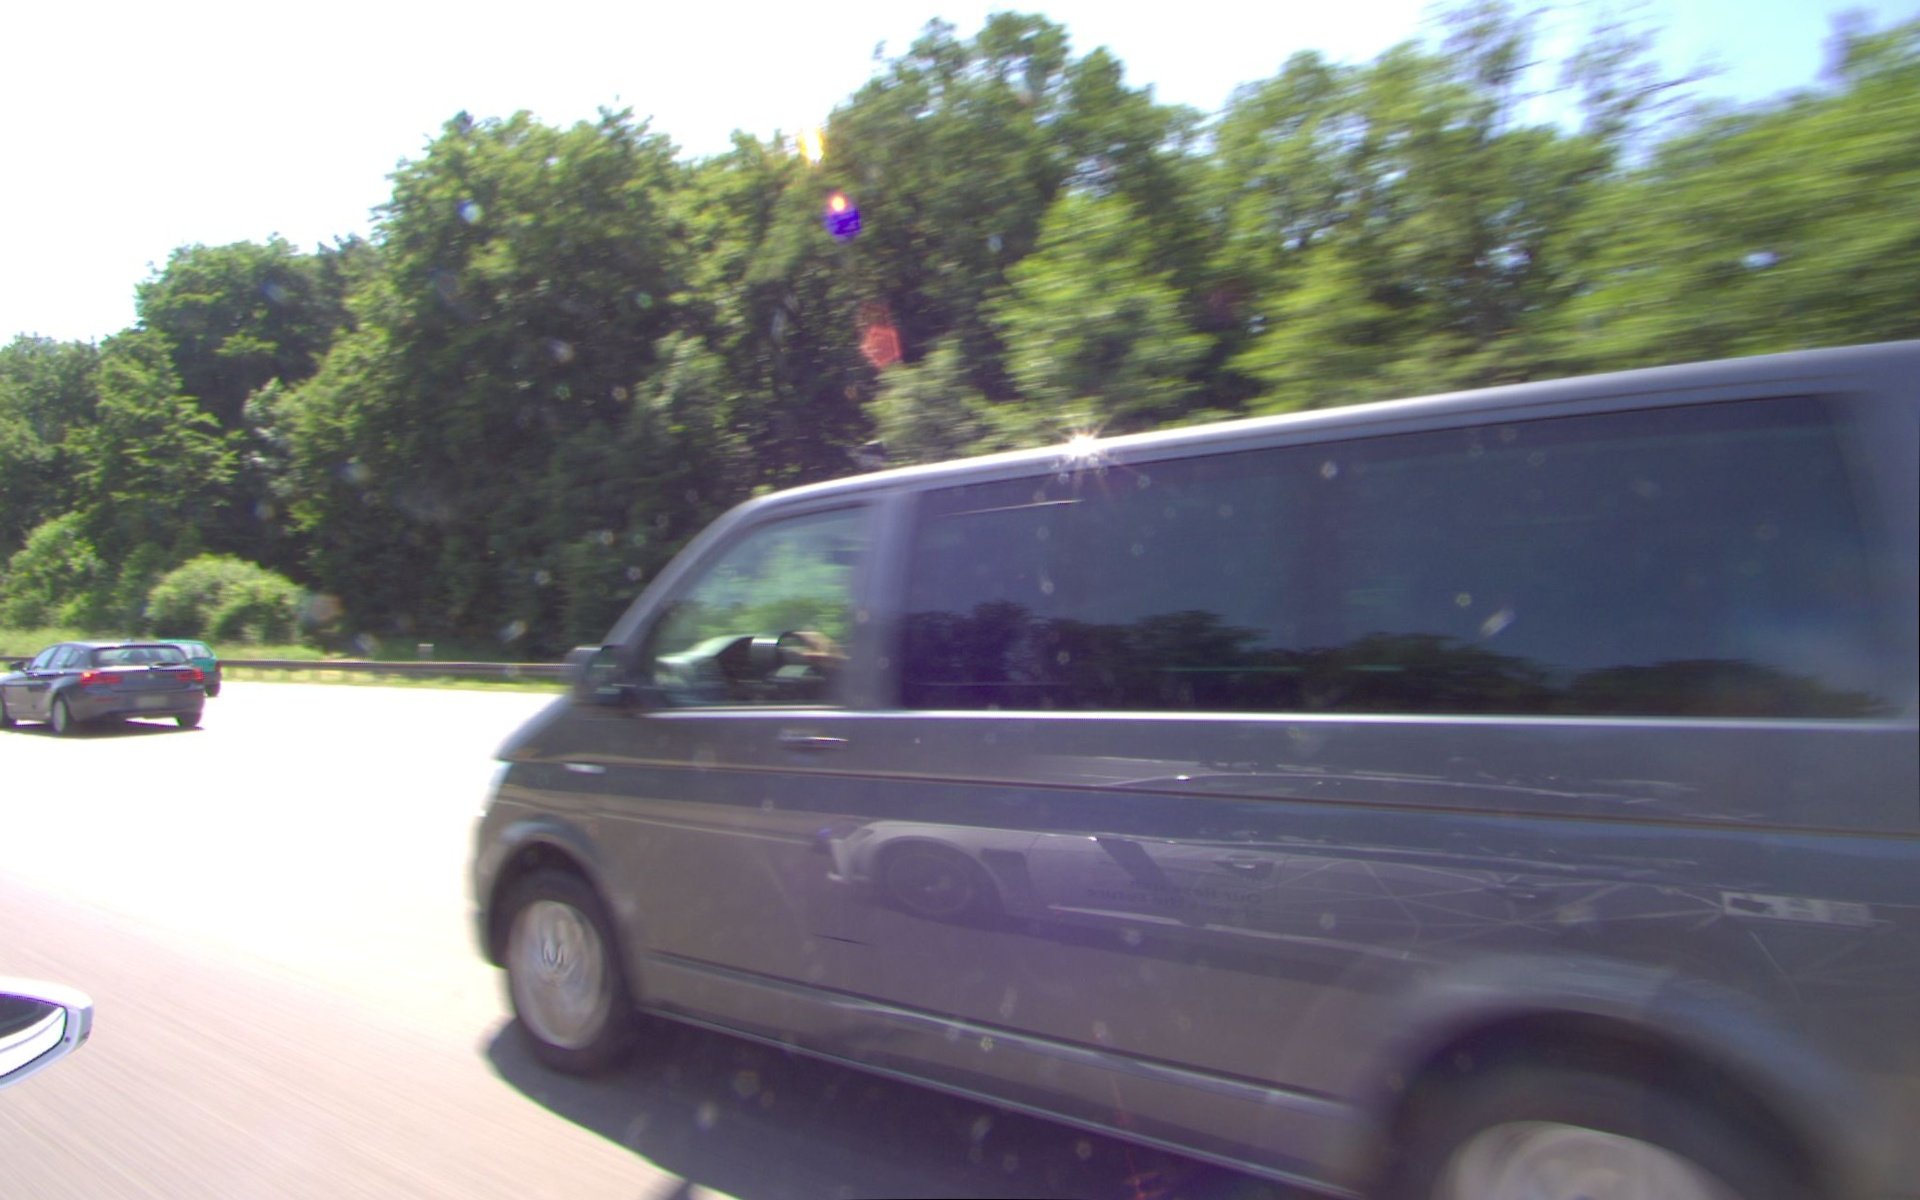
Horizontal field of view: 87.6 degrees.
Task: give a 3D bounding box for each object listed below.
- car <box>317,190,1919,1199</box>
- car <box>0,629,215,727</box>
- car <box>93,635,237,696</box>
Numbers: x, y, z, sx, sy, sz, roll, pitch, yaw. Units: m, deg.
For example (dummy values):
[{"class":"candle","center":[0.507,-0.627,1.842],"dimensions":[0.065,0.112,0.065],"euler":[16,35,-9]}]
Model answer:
[{"class":"car","center":[0.007,0.499,3.543],"dimensions":[5.012,2.059,1.959],"euler":[-1,-2,33]},{"class":"car","center":[-14.023,1.207,16.317],"dimensions":[4.095,1.414,1.699],"euler":[-2,-2,33]},{"class":"car","center":[-20.492,1.641,25.770],"dimensions":[4.279,1.462,1.542],"euler":[-2,-2,32]}]
